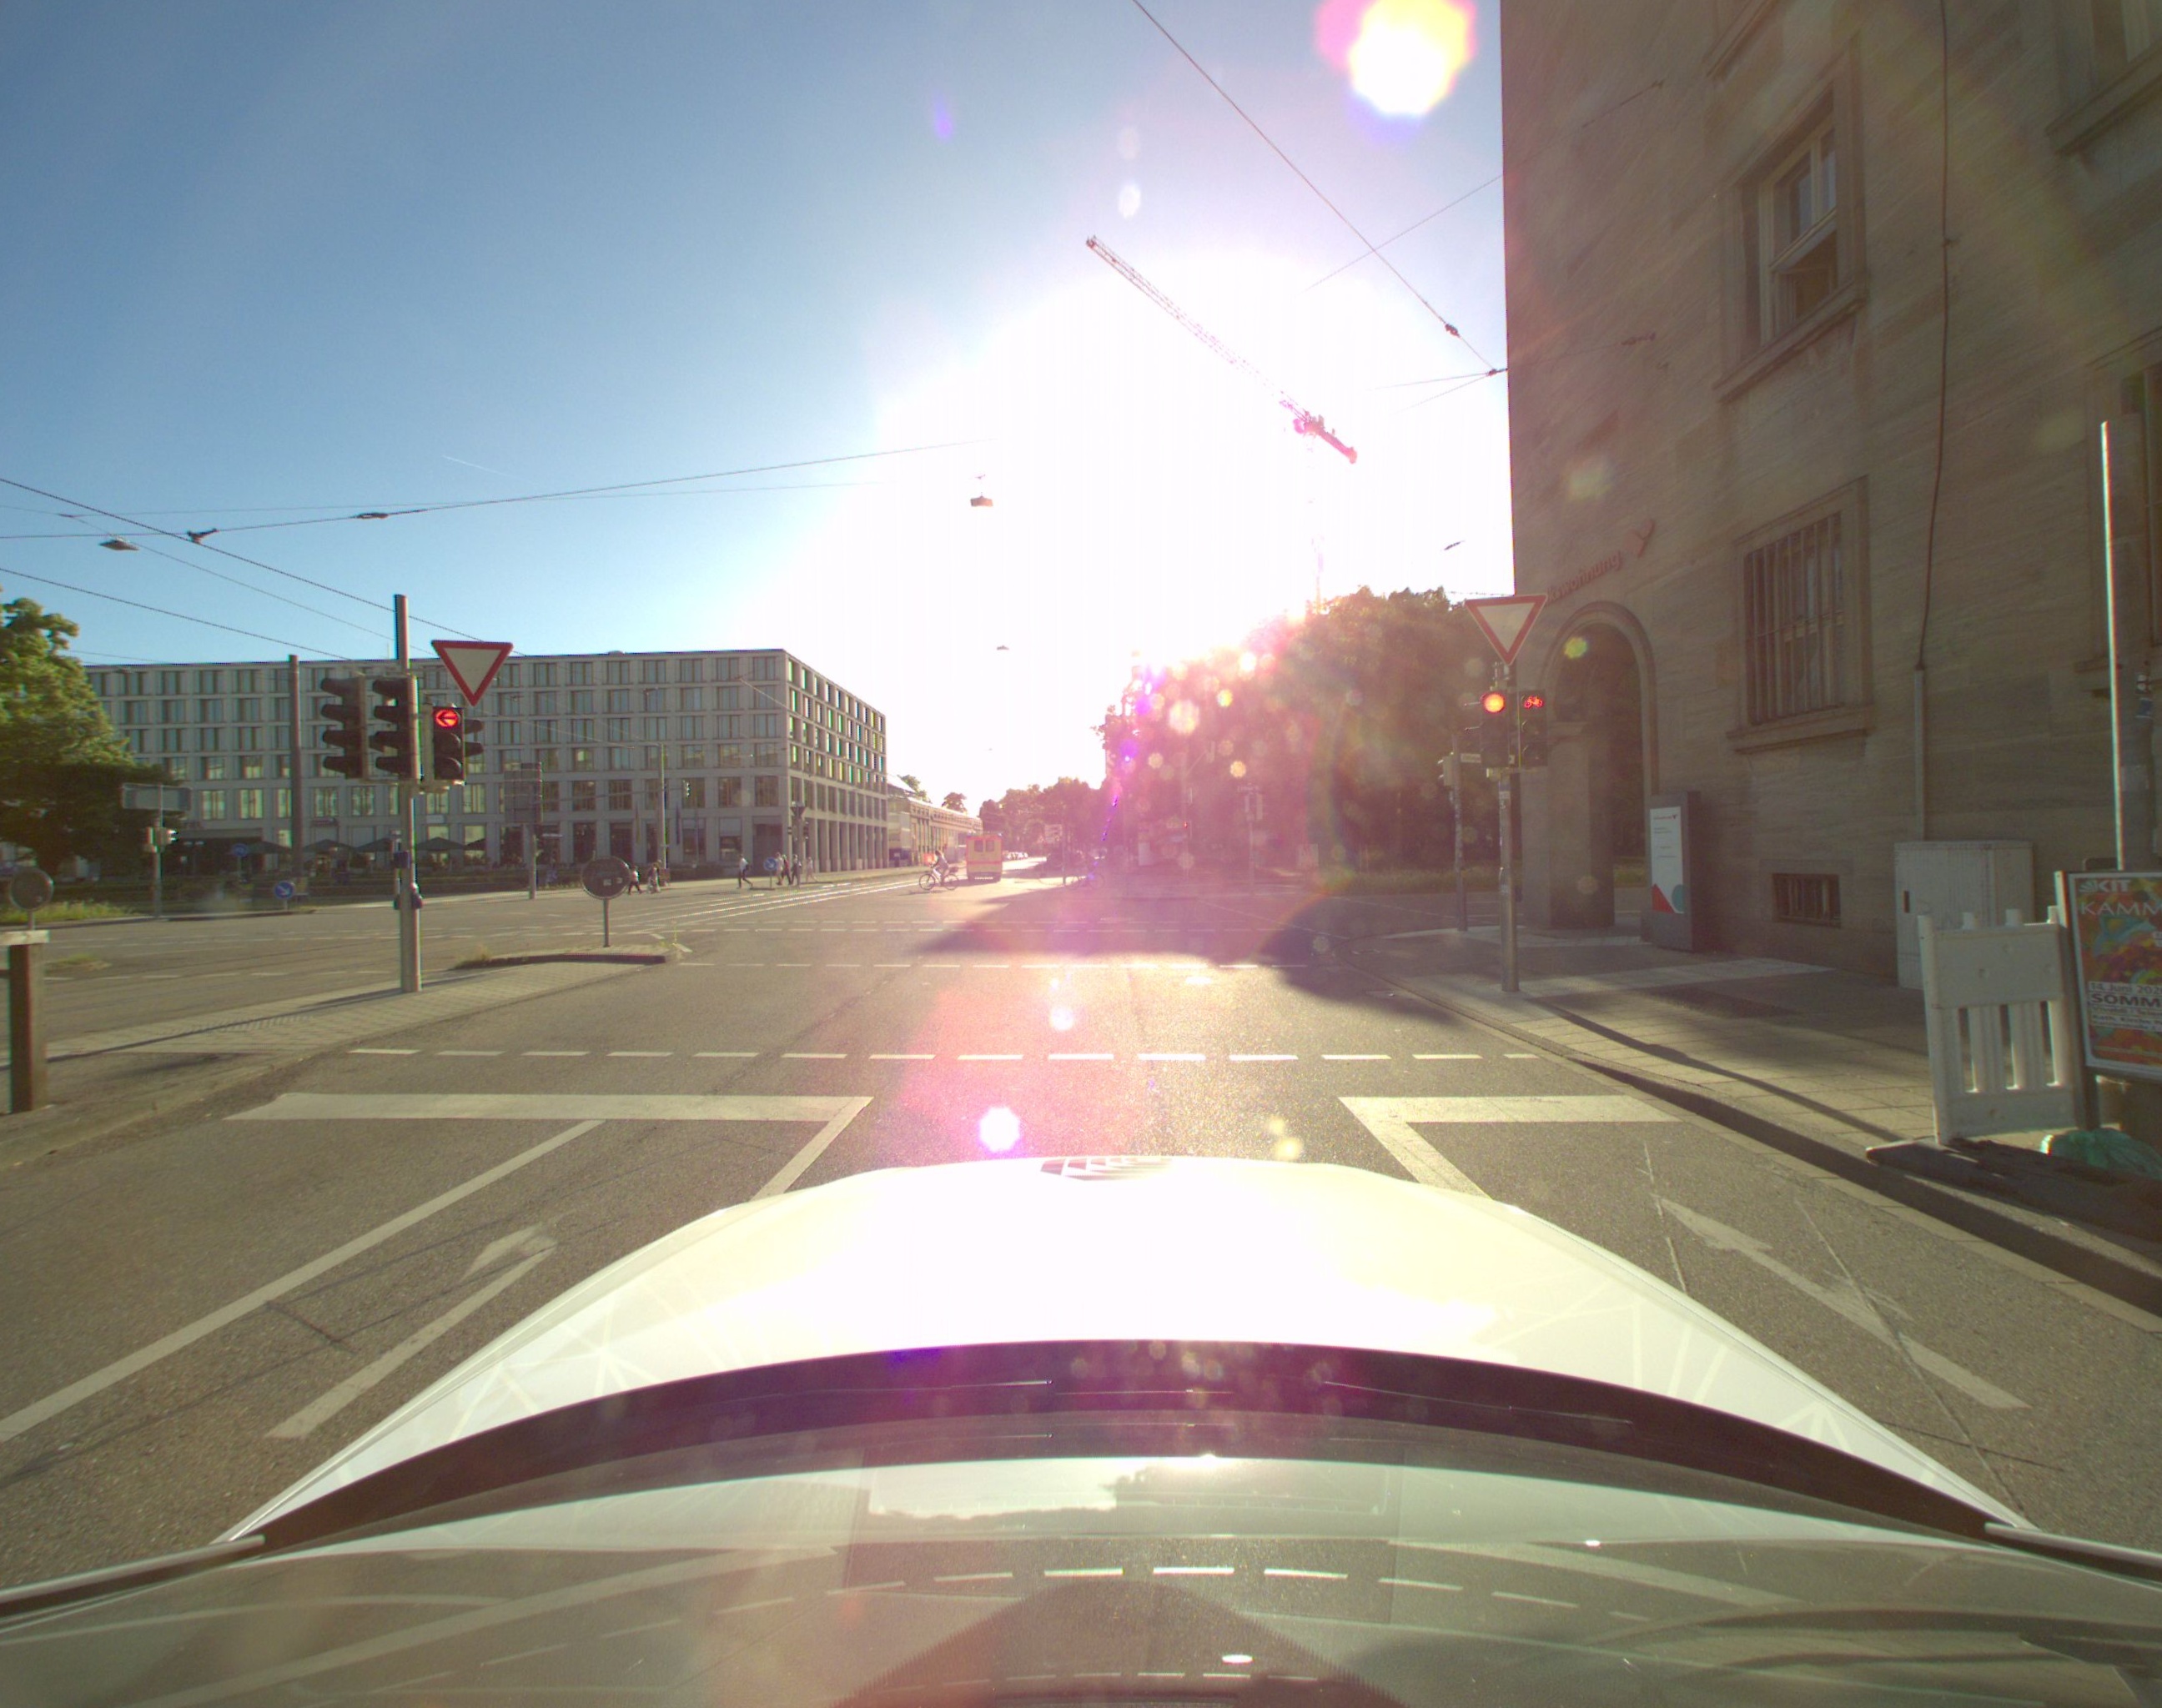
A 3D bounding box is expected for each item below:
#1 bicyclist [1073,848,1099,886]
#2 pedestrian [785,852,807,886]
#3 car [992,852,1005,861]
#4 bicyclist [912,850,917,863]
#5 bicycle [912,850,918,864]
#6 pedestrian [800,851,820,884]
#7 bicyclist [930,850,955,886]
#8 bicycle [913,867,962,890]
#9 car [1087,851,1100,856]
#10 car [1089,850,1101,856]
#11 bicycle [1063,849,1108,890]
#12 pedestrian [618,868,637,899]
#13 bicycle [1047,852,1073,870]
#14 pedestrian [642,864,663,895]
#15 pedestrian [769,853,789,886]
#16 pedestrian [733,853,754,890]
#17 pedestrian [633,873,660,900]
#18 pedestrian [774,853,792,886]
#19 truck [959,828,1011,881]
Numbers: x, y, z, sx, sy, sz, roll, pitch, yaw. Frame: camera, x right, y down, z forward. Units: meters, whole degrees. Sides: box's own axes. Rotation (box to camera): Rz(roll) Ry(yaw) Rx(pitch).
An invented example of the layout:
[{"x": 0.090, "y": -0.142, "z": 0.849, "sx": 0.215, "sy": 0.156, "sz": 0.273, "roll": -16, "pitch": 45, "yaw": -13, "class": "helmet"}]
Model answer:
[{"x": 0.229, "y": 0.573, "z": 35.769, "sx": 1.072, "sy": 1.641, "sz": 0.596, "roll": -2, "pitch": 0, "yaw": -3, "class": "bicyclist"}, {"x": -15.594, "y": 0.811, "z": 44.538, "sx": 0.865, "sy": 1.803, "sz": 0.665, "roll": -2, "pitch": 0, "yaw": 7, "class": "pedestrian"}, {"x": -15.861, "y": 0.433, "z": 157.061, "sx": 1.888, "sy": 1.607, "sz": 4.499, "roll": -2, "pitch": 0, "yaw": 0, "class": "car"}, {"x": -26.754, "y": 0.370, "z": 130.937, "sx": 0.569, "sy": 2.024, "sz": 0.762, "roll": -2, "pitch": 0, "yaw": 0, "class": "bicyclist"}, {"x": -26.748, "y": 0.510, "z": 130.961, "sx": 0.569, "sy": 2.296, "sz": 1.422, "roll": -2, "pitch": 0, "yaw": 0, "class": "bicycle"}, {"x": -15.065, "y": 0.752, "z": 45.271, "sx": 0.865, "sy": 1.803, "sz": 0.533, "roll": -2, "pitch": 0, "yaw": 7, "class": "pedestrian"}, {"x": -6.099, "y": 0.609, "z": 35.875, "sx": 0.972, "sy": 1.560, "sz": 0.574, "roll": -2, "pitch": 0, "yaw": -3, "class": "bicyclist"}, {"x": -6.305, "y": 1.088, "z": 35.856, "sx": 2.060, "sy": 0.933, "sz": 0.574, "roll": -2, "pitch": 0, "yaw": -3, "class": "bicycle"}, {"x": 3.214, "y": -0.154, "z": 211.404, "sx": 3.207, "sy": 1.263, "sz": 1.373, "roll": 0, "pitch": -1, "yaw": 0, "class": "car"}, {"x": 3.648, "y": -0.305, "z": 213.660, "sx": 3.207, "sy": 1.588, "sz": 1.445, "roll": 0, "pitch": -1, "yaw": -3, "class": "car"}, {"x": 0.202, "y": 0.675, "z": 35.765, "sx": 1.893, "sy": 1.735, "sz": 0.596, "roll": -2, "pitch": 0, "yaw": -4, "class": "bicycle"}, {"x": -24.474, "y": 1.568, "z": 43.979, "sx": 0.687, "sy": 1.644, "sz": 0.625, "roll": -2, "pitch": 0, "yaw": 33, "class": "pedestrian"}, {"x": -2.128, "y": 0.667, "z": 81.580, "sx": 2.538, "sy": 1.743, "sz": 1.038, "roll": 0, "pitch": -1, "yaw": 1, "class": "bicycle"}, {"x": -22.896, "y": 1.348, "z": 43.532, "sx": 0.790, "sy": 1.644, "sz": 0.621, "roll": -2, "pitch": 0, "yaw": -3, "class": "pedestrian"}, {"x": -16.664, "y": 0.845, "z": 44.904, "sx": 0.735, "sy": 1.803, "sz": 0.717, "roll": -2, "pitch": 0, "yaw": 7, "class": "pedestrian"}, {"x": -18.116, "y": 0.927, "z": 43.707, "sx": 0.797, "sy": 1.918, "sz": 0.638, "roll": -2, "pitch": 0, "yaw": 7, "class": "pedestrian"}, {"x": -22.661, "y": 1.675, "z": 42.449, "sx": 0.993, "sy": 1.317, "sz": 0.765, "roll": -2, "pitch": 0, "yaw": -7, "class": "pedestrian"}, {"x": -16.732, "y": 0.870, "z": 45.791, "sx": 0.735, "sy": 1.803, "sz": 0.533, "roll": -2, "pitch": 0, "yaw": 7, "class": "pedestrian"}, {"x": -5.997, "y": 0.041, "z": 50.079, "sx": 2.717, "sy": 3.016, "sz": 6.465, "roll": -1, "pitch": 0, "yaw": -11, "class": "truck"}]
